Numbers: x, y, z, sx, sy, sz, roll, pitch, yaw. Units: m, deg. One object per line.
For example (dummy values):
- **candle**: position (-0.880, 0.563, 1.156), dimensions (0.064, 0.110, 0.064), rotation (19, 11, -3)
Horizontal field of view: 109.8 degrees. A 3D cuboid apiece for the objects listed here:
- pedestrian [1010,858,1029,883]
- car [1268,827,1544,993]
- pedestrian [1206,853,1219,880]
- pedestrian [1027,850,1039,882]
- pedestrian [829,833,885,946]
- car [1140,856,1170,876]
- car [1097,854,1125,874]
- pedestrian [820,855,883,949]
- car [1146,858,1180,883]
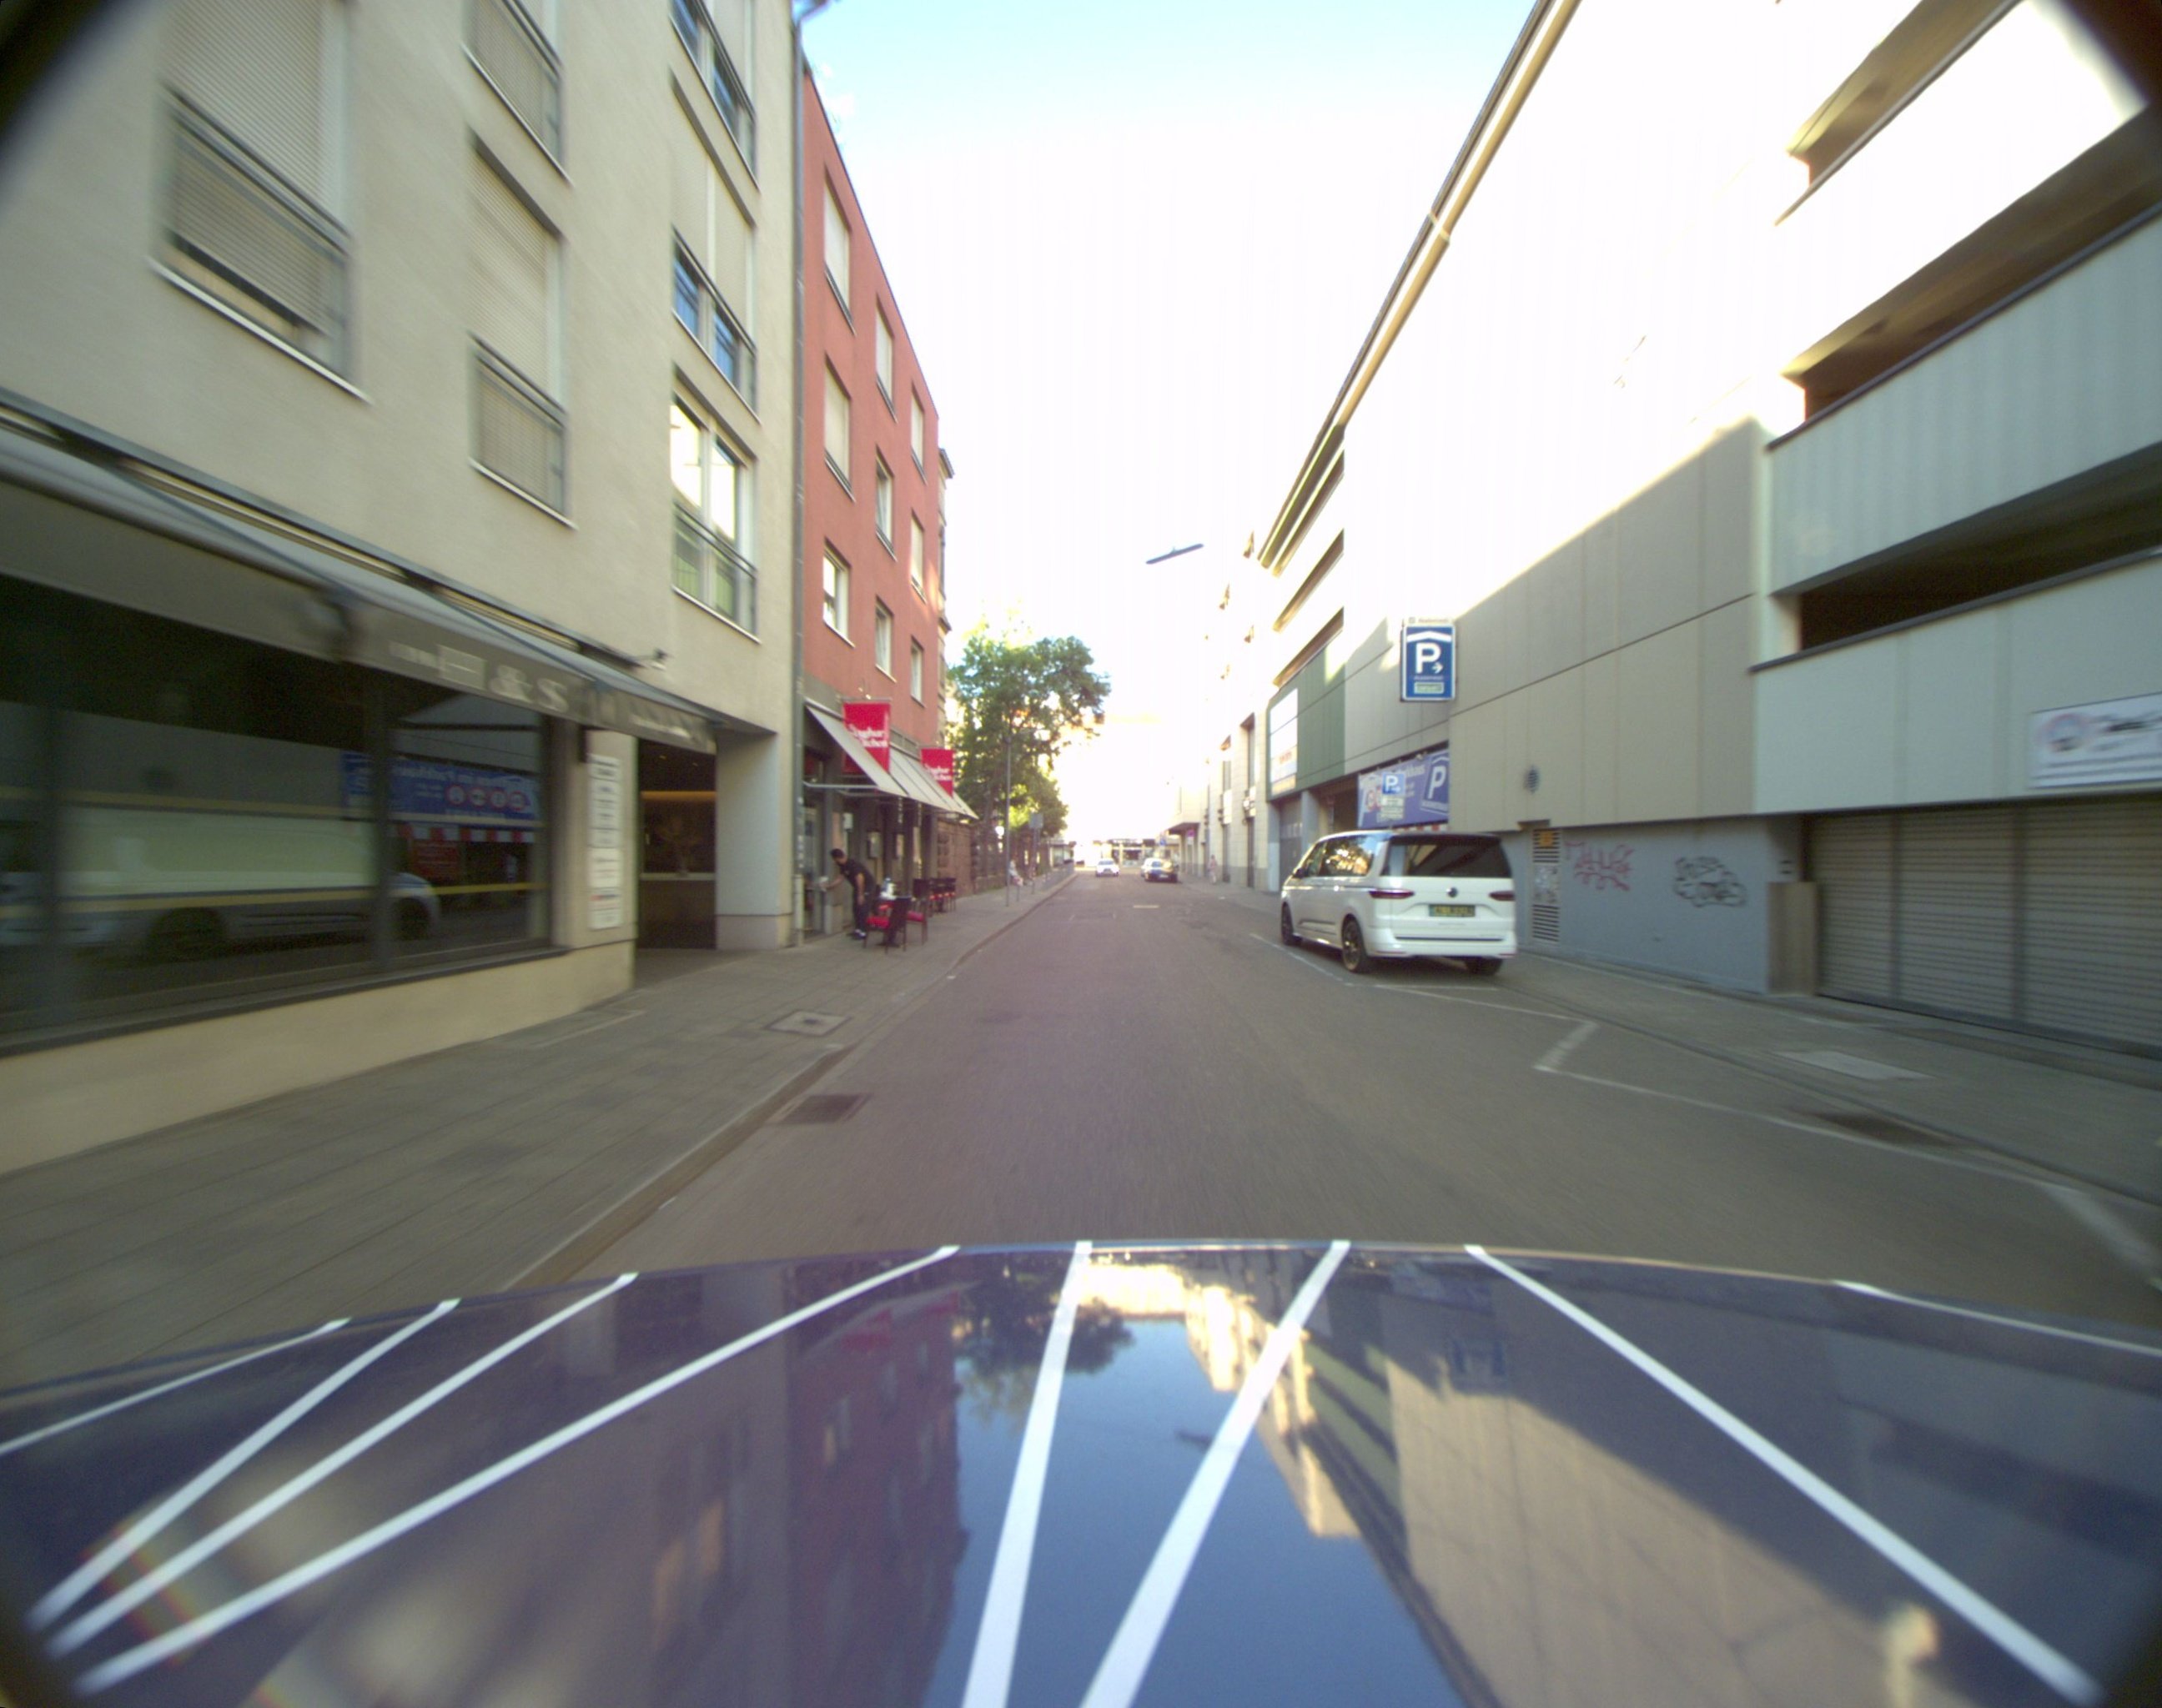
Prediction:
- **pedestrian**: position (-3.200, 0.849, 39.386), dimensions (0.928, 1.242, 0.362), rotation (2, 1, -1)
- **car**: position (4.471, 0.658, 11.485), dimensions (1.999, 1.928, 4.850), rotation (2, 0, 0)
- **pedestrian**: position (7.766, 0.742, 44.903), dimensions (0.620, 1.616, 0.565), rotation (-1, 1, 2)
- **pedestrian**: position (-2.499, 0.624, 39.557), dimensions (0.437, 1.637, 0.558), rotation (2, 1, 9)
- **pedestrian**: position (-3.666, 0.567, 12.398), dimensions (0.661, 1.782, 0.728), rotation (3, 1, -28)
- **car**: position (5.713, 0.921, 59.096), dimensions (1.818, 1.440, 3.628), rotation (1, 0, -3)
- **car**: position (2.385, 0.753, 61.179), dimensions (1.789, 1.515, 3.998), rotation (-2, 0, -4)
- **pedestrian**: position (-3.715, 0.755, 12.343), dimensions (0.827, 1.477, 0.661), rotation (0, 1, 1)
- **car**: position (5.294, 1.026, 49.567), dimensions (1.998, 1.409, 4.559), rotation (2, 1, 5)
